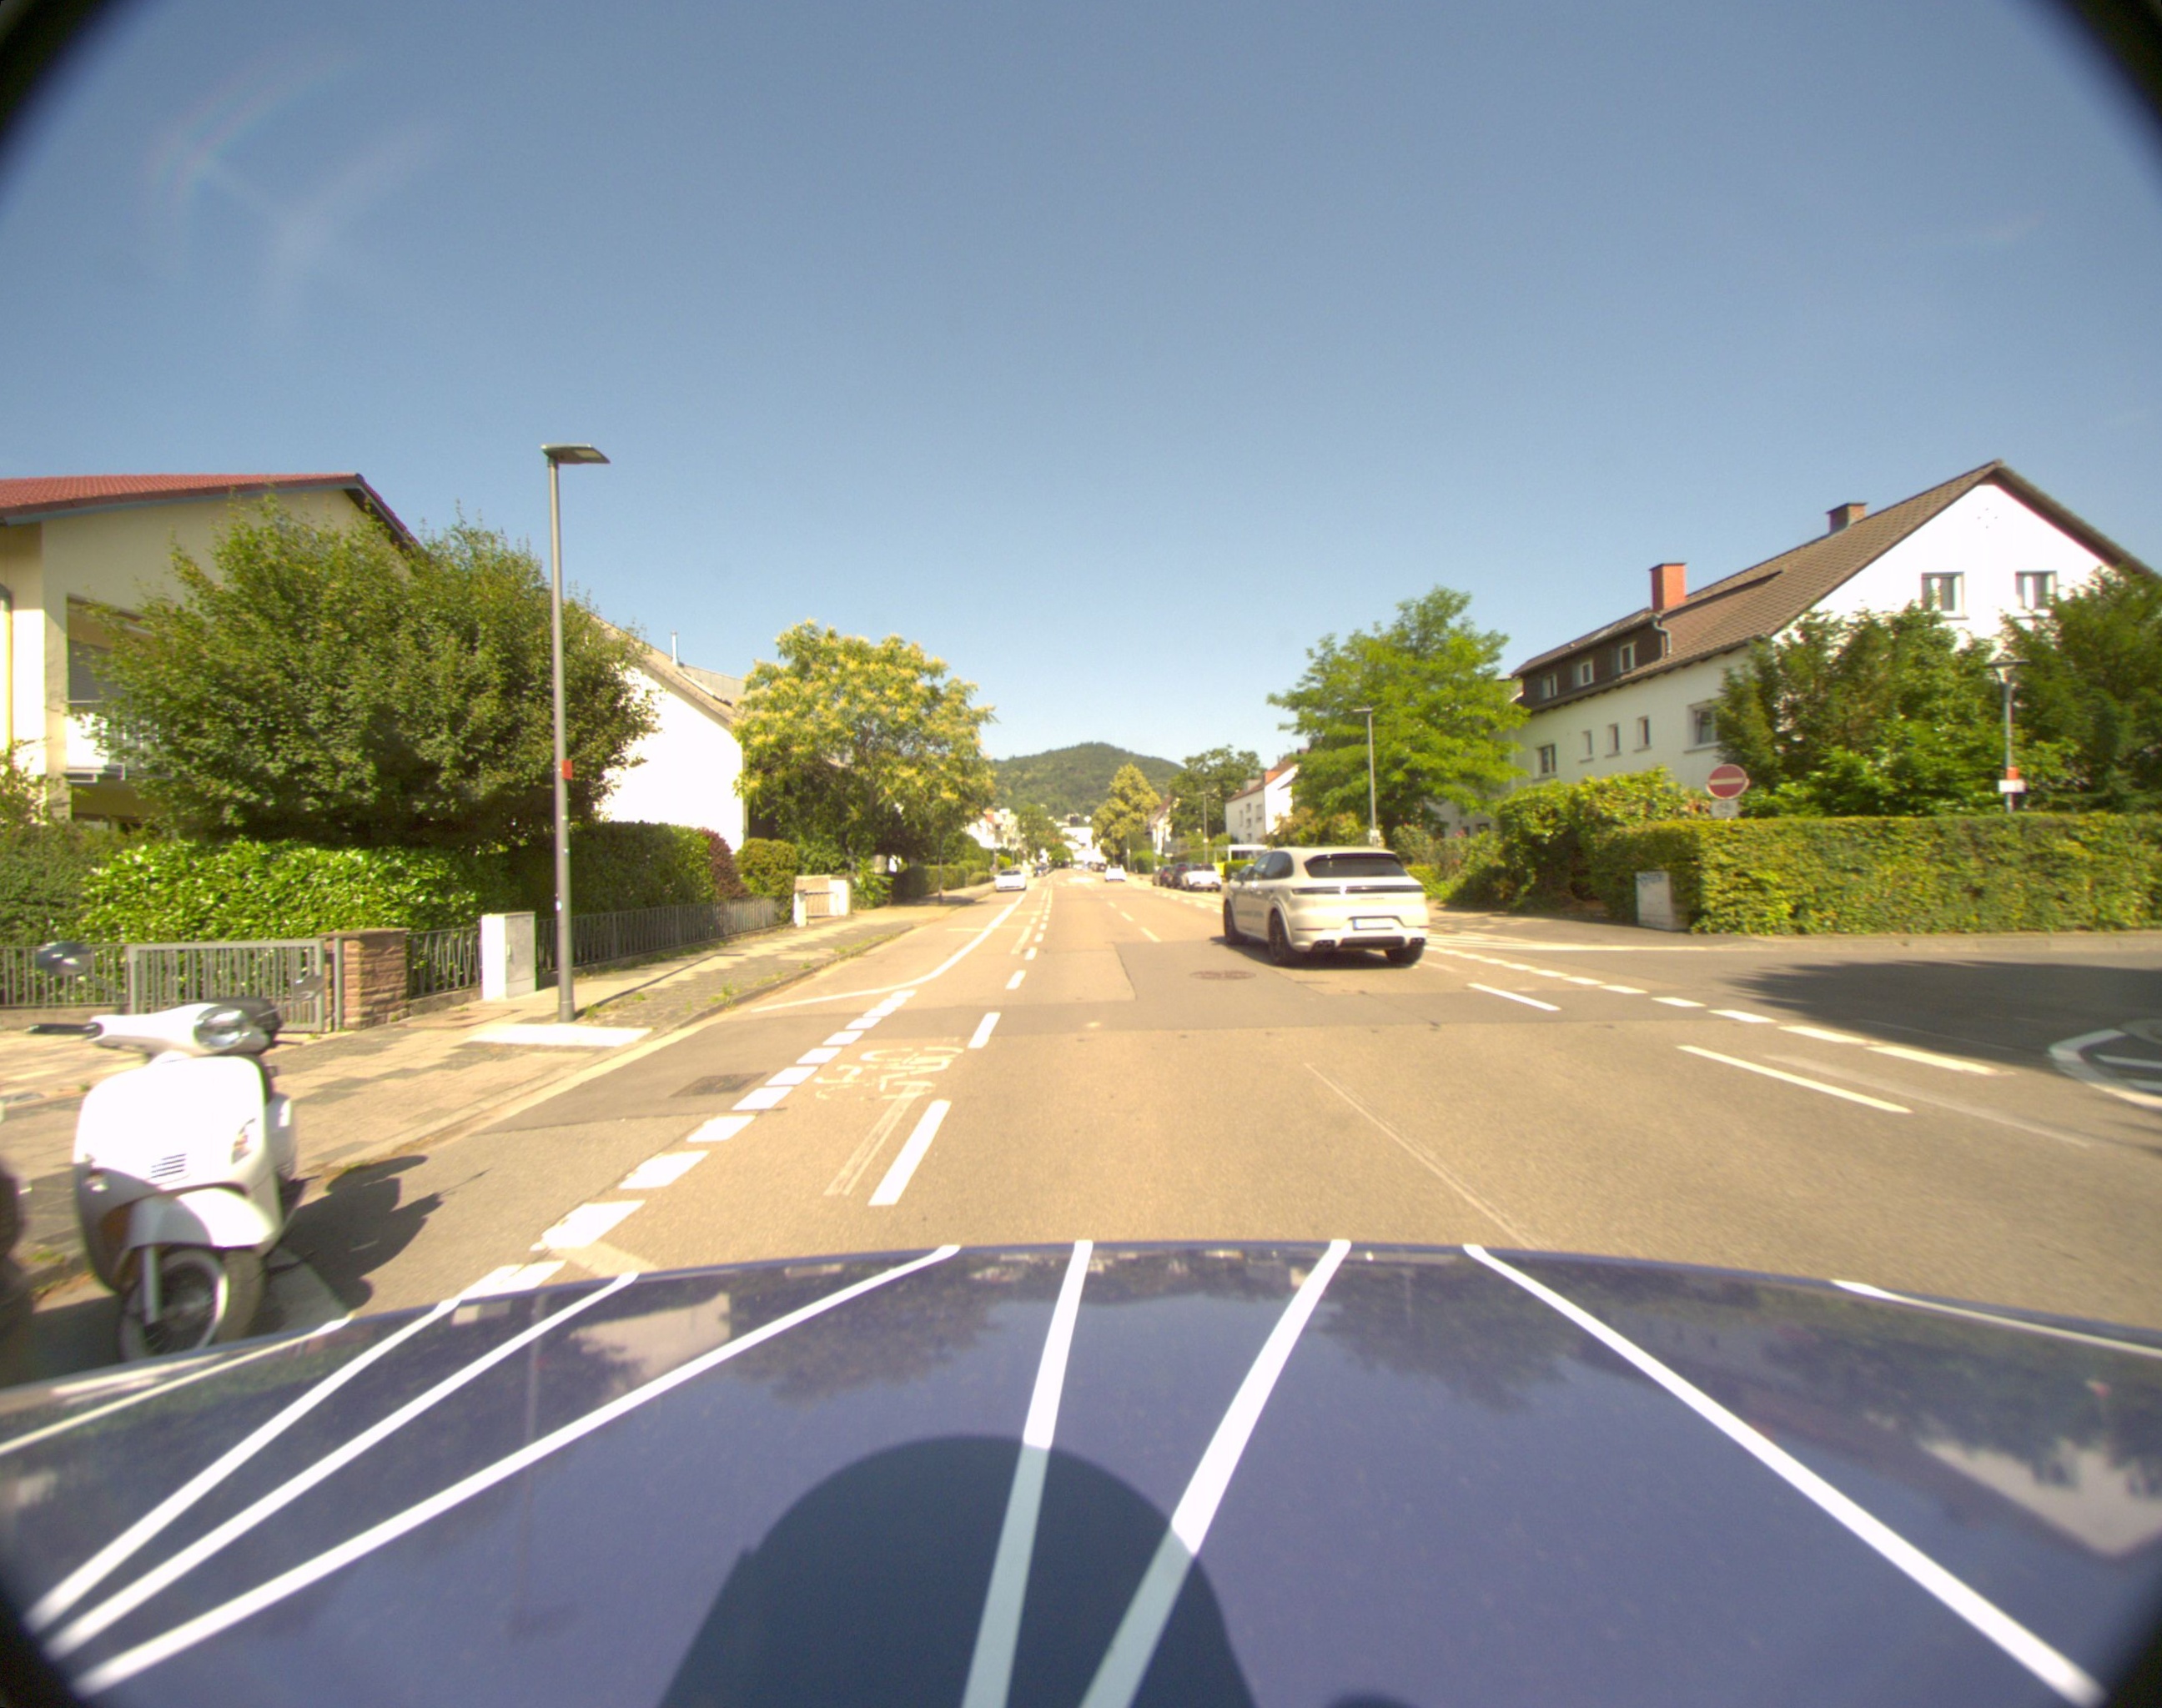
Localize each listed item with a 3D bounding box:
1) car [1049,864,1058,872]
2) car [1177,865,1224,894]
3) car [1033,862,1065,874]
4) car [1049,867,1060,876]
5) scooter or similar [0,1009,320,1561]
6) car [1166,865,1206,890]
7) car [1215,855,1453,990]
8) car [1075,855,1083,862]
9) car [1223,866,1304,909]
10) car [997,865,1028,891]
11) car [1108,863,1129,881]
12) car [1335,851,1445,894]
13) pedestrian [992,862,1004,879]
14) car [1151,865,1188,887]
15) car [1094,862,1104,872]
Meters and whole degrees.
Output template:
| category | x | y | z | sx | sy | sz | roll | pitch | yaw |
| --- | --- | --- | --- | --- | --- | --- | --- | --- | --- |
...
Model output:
| category | x | y | z | sx | sy | sz | roll | pitch | yaw |
| --- | --- | --- | --- | --- | --- | --- | --- | --- | --- |
| car | -5.900 | 3.026 | 162.427 | 1.701 | 1.573 | 4.899 | -3 | 0 | -4 |
| car | 6.281 | 1.311 | 40.361 | 1.790 | 1.431 | 4.000 | 1 | -1 | -1 |
| car | -4.282 | 1.857 | 102.005 | 1.738 | 1.459 | 4.354 | -3 | -1 | 41 |
| car | -4.194 | 2.774 | 121.087 | 1.741 | 1.321 | 4.075 | -3 | 1 | -1 |
| scooter or similar | -3.283 | 1.262 | 2.688 | 1.792 | 1.147 | 0.721 | -5 | 0 | 43 |
| car | 6.143 | 1.351 | 44.792 | 1.790 | 1.431 | 4.111 | 0 | -1 | 0 |
| car | 3.571 | 0.882 | 11.792 | 1.999 | 1.647 | 4.604 | -1 | -1 | -2 |
| car | -0.494 | 1.102 | 176.092 | 1.920 | 1.656 | 4.506 | 1 | 0 | 0 |
| car | 6.570 | 1.206 | 27.834 | 1.790 | 1.431 | 4.000 | 1 | -2 | -4 |
| car | -4.246 | 1.467 | 47.504 | 1.745 | 1.394 | 4.073 | -3 | 0 | -3 |
| car | 3.315 | 1.563 | 67.135 | 1.736 | 1.532 | 4.001 | 0 | 0 | 3 |
| car | 13.439 | 0.809 | 33.228 | 3.997 | 1.749 | 2.000 | -1 | -1 | -1 |
| pedestrian | -9.262 | 1.792 | 84.679 | 0.903 | 1.861 | 1.186 | -1 | 0 | -34 |
| car | 5.899 | 1.448 | 51.121 | 1.790 | 1.431 | 4.153 | 1 | -1 | -4 |
| car | 3.409 | 2.479 | 145.451 | 1.889 | 1.908 | 4.869 | 1 | -1 | 0 |
